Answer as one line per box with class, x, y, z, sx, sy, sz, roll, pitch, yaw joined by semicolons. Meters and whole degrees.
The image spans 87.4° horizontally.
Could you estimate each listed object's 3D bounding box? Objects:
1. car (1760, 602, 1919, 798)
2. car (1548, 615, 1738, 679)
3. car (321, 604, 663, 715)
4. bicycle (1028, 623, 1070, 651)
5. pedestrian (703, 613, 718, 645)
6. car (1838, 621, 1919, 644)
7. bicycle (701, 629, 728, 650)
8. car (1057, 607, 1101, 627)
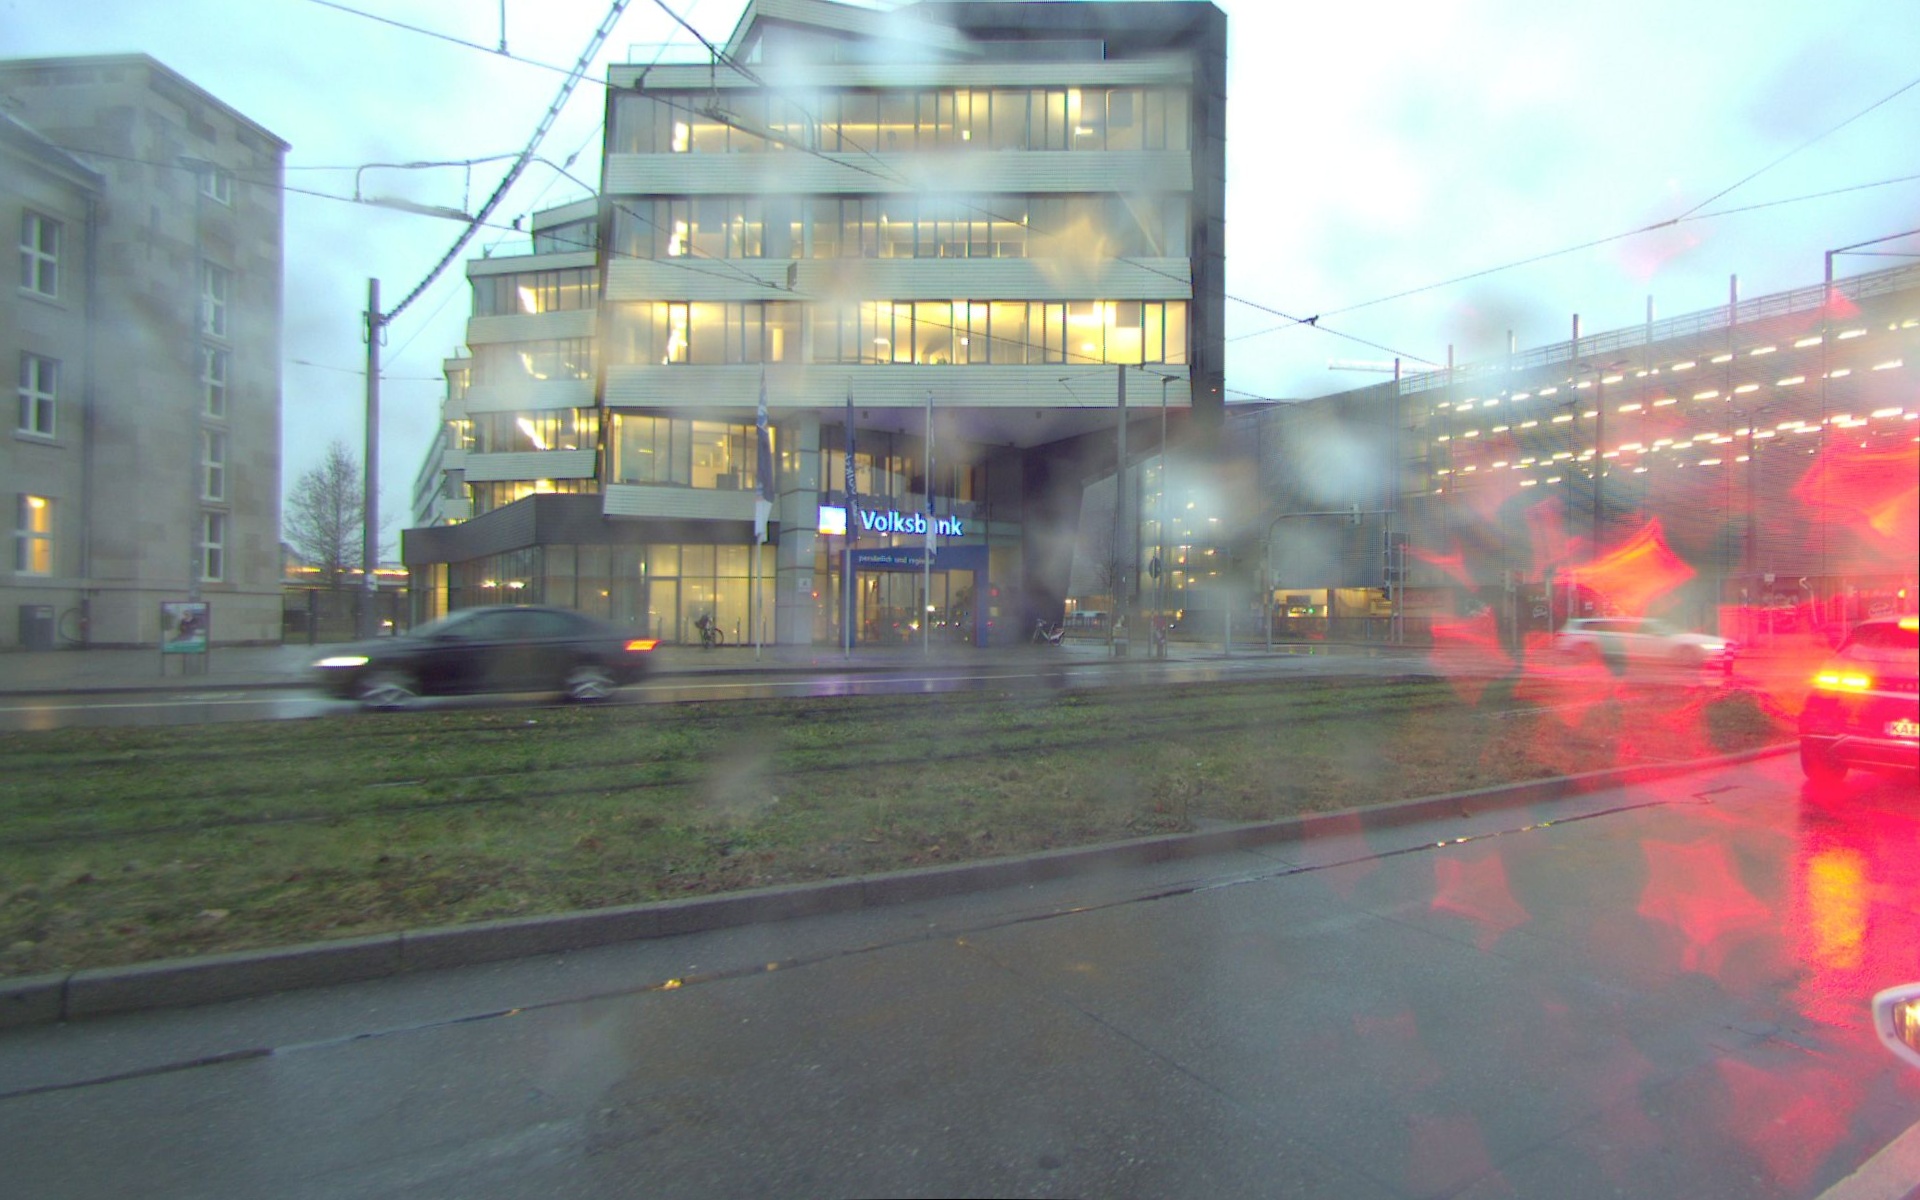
car;9.329;0.857;9.458;3.959;1.595;1.742;1;-1;-34
car;21.365;1.426;31.591;1.816;1.875;4.631;2;-2;-39
car;-6.939;0.804;15.113;4.473;1.419;1.647;1;1;-33
bicycle;3.571;1.466;40.152;1.588;1.105;0.553;1;-1;-23
pedestrian;-8.580;1.007;34.560;0.380;1.103;0.325;0;-1;5
car;50.373;1.743;54.557;1.664;1.181;3.735;1;-1;-35
bicycle;-8.568;1.393;35.096;0.896;0.724;0.483;1;-1;-10
car;13.083;1.868;110.516;1.872;1.988;5.044;0;2;-35
